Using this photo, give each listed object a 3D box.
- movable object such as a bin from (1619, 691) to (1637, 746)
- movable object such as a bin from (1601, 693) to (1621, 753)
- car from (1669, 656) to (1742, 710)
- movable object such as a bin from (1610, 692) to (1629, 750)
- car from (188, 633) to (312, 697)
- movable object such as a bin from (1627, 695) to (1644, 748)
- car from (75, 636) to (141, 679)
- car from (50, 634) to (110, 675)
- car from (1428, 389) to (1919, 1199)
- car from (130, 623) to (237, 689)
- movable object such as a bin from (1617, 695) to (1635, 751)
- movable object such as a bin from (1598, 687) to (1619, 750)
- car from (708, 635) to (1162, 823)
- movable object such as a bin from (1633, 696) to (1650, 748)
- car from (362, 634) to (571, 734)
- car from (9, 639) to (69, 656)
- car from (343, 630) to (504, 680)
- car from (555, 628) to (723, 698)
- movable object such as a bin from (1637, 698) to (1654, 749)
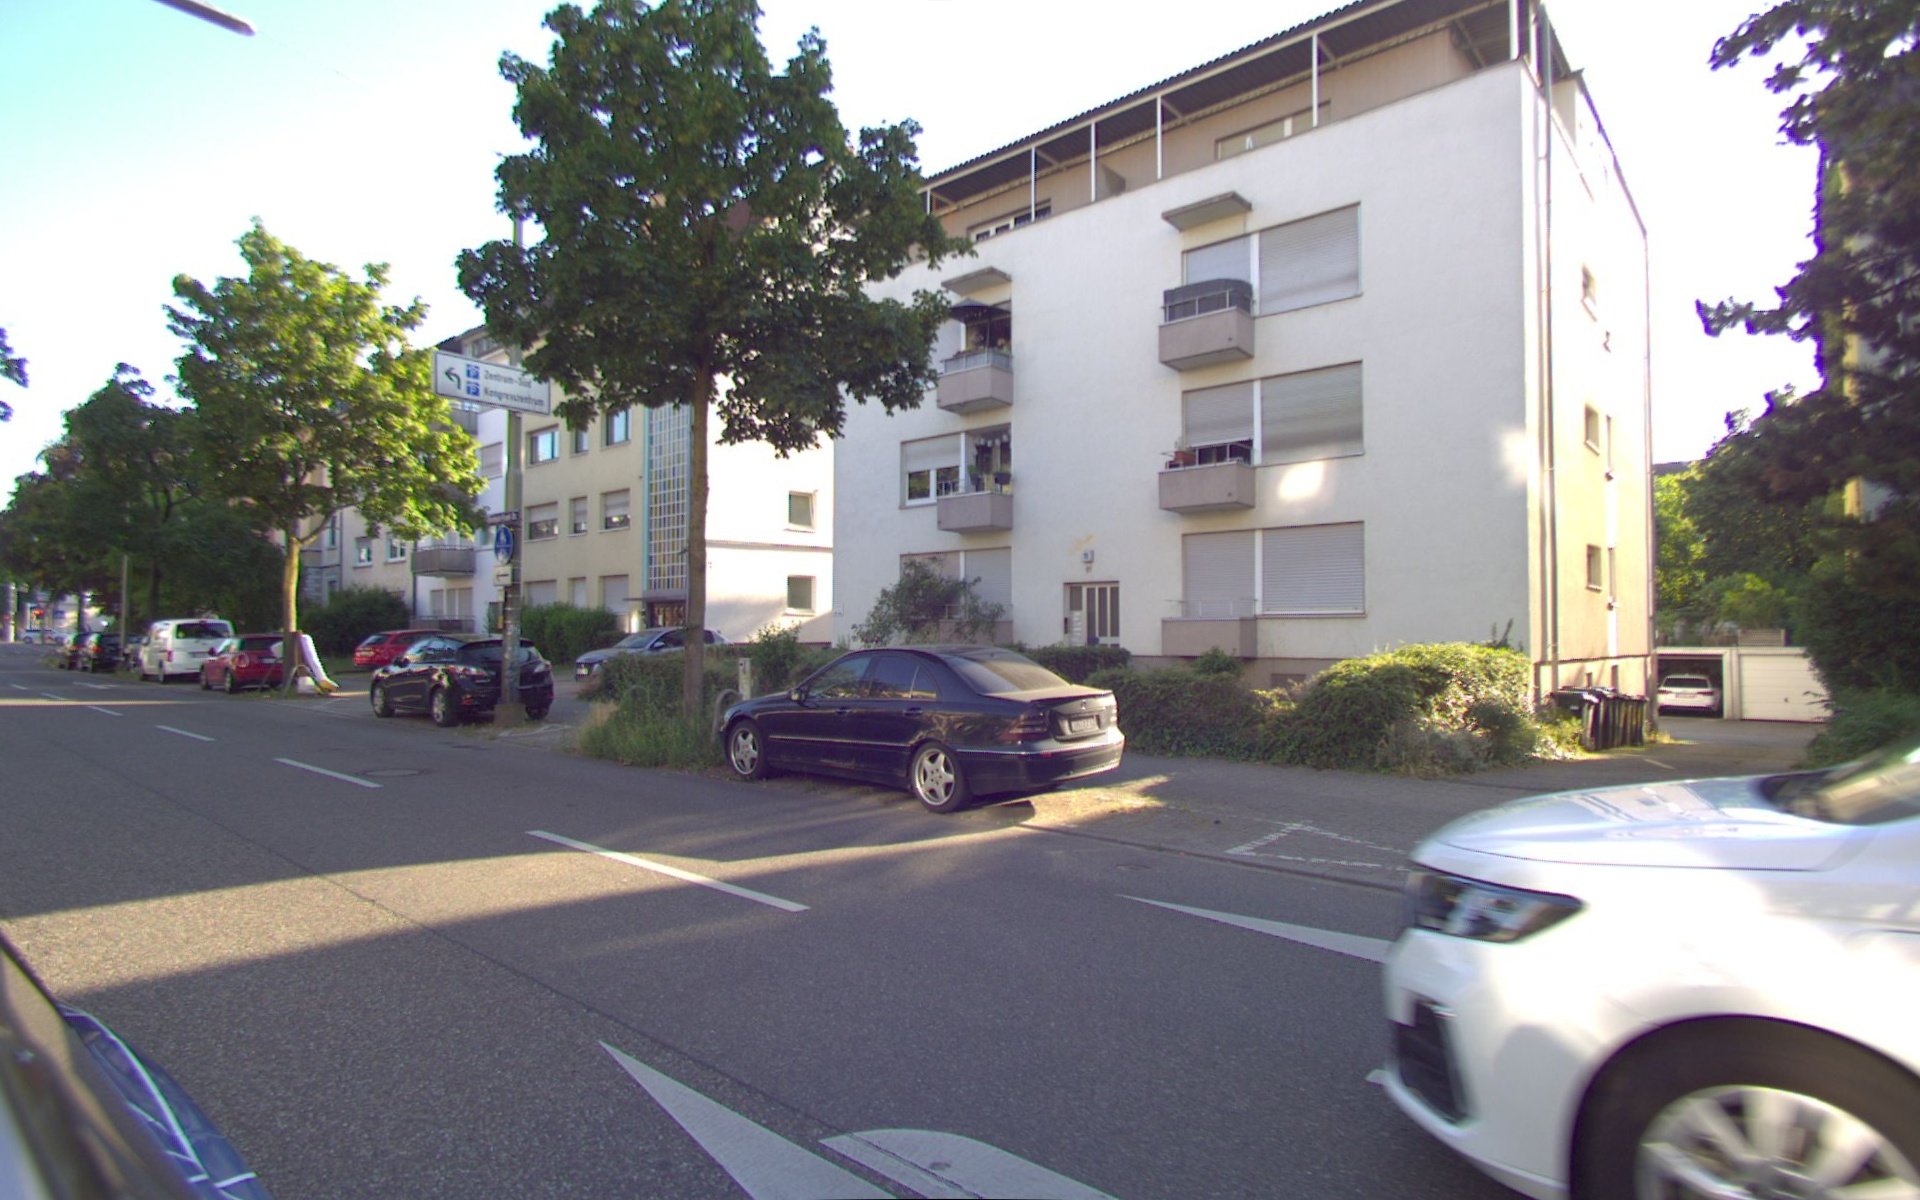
[{"bbox_3d":[12.800,2.260,19.399,0.207,1.010,0.519,-2,-4,41],"label":"movable object such as a bin"},{"bbox_3d":[11.404,2.152,17.730,0.207,1.010,0.519,-2,-4,41],"label":"movable object such as a bin"},{"bbox_3d":[28.514,3.116,38.670,1.847,1.884,3.944,-2,-4,42],"label":"car"},{"bbox_3d":[11.976,2.197,18.381,0.207,1.010,0.519,-2,-4,41],"label":"movable object such as a bin"},{"bbox_3d":[-17.915,1.583,25.492,3.634,1.475,1.717,-2,-2,41],"label":"car"},{"bbox_3d":[13.291,2.381,19.910,0.207,1.010,0.519,-2,-4,41],"label":"movable object such as a bin"},{"bbox_3d":[-31.501,2.080,37.369,3.682,1.416,1.388,-1,0,42],"label":"car"},{"bbox_3d":[-34.770,2.110,39.964,3.682,1.475,1.388,-1,0,42],"label":"car"},{"bbox_3d":[3.330,0.559,1.546,4.427,1.817,1.869,-2,-4,40],"label":"car"},{"bbox_3d":[-23.120,1.623,30.086,4.189,1.823,1.717,-2,-2,41],"label":"car"},{"bbox_3d":[12.439,2.290,18.900,0.207,1.010,0.519,-2,-4,41],"label":"movable object such as a bin"},{"bbox_3d":[10.893,1.981,17.004,0.207,1.010,0.519,-2,-4,41],"label":"movable object such as a bin"},{"bbox_3d":[-0.426,1.045,9.744,4.441,1.418,1.620,-2,-2,41],"label":"car"},{"bbox_3d":[13.730,2.443,20.392,0.207,1.010,0.519,-2,-4,41],"label":"movable object such as a bin"},{"bbox_3d":[-8.507,1.346,17.307,3.999,1.497,1.838,-2,-3,42],"label":"car"},{"bbox_3d":[-91.618,4.728,100.757,3.934,1.597,2.005,0,-2,-12],"label":"car"},{"bbox_3d":[-17.777,1.777,33.752,1.735,1.416,4.516,-1,0,31],"label":"car"},{"bbox_3d":[-7.527,1.439,23.919,1.686,1.535,3.422,-2,-3,42],"label":"car"},{"bbox_3d":[14.108,2.541,20.838,0.207,1.010,0.519,-2,-4,41],"label":"movable object such as a bin"}]
